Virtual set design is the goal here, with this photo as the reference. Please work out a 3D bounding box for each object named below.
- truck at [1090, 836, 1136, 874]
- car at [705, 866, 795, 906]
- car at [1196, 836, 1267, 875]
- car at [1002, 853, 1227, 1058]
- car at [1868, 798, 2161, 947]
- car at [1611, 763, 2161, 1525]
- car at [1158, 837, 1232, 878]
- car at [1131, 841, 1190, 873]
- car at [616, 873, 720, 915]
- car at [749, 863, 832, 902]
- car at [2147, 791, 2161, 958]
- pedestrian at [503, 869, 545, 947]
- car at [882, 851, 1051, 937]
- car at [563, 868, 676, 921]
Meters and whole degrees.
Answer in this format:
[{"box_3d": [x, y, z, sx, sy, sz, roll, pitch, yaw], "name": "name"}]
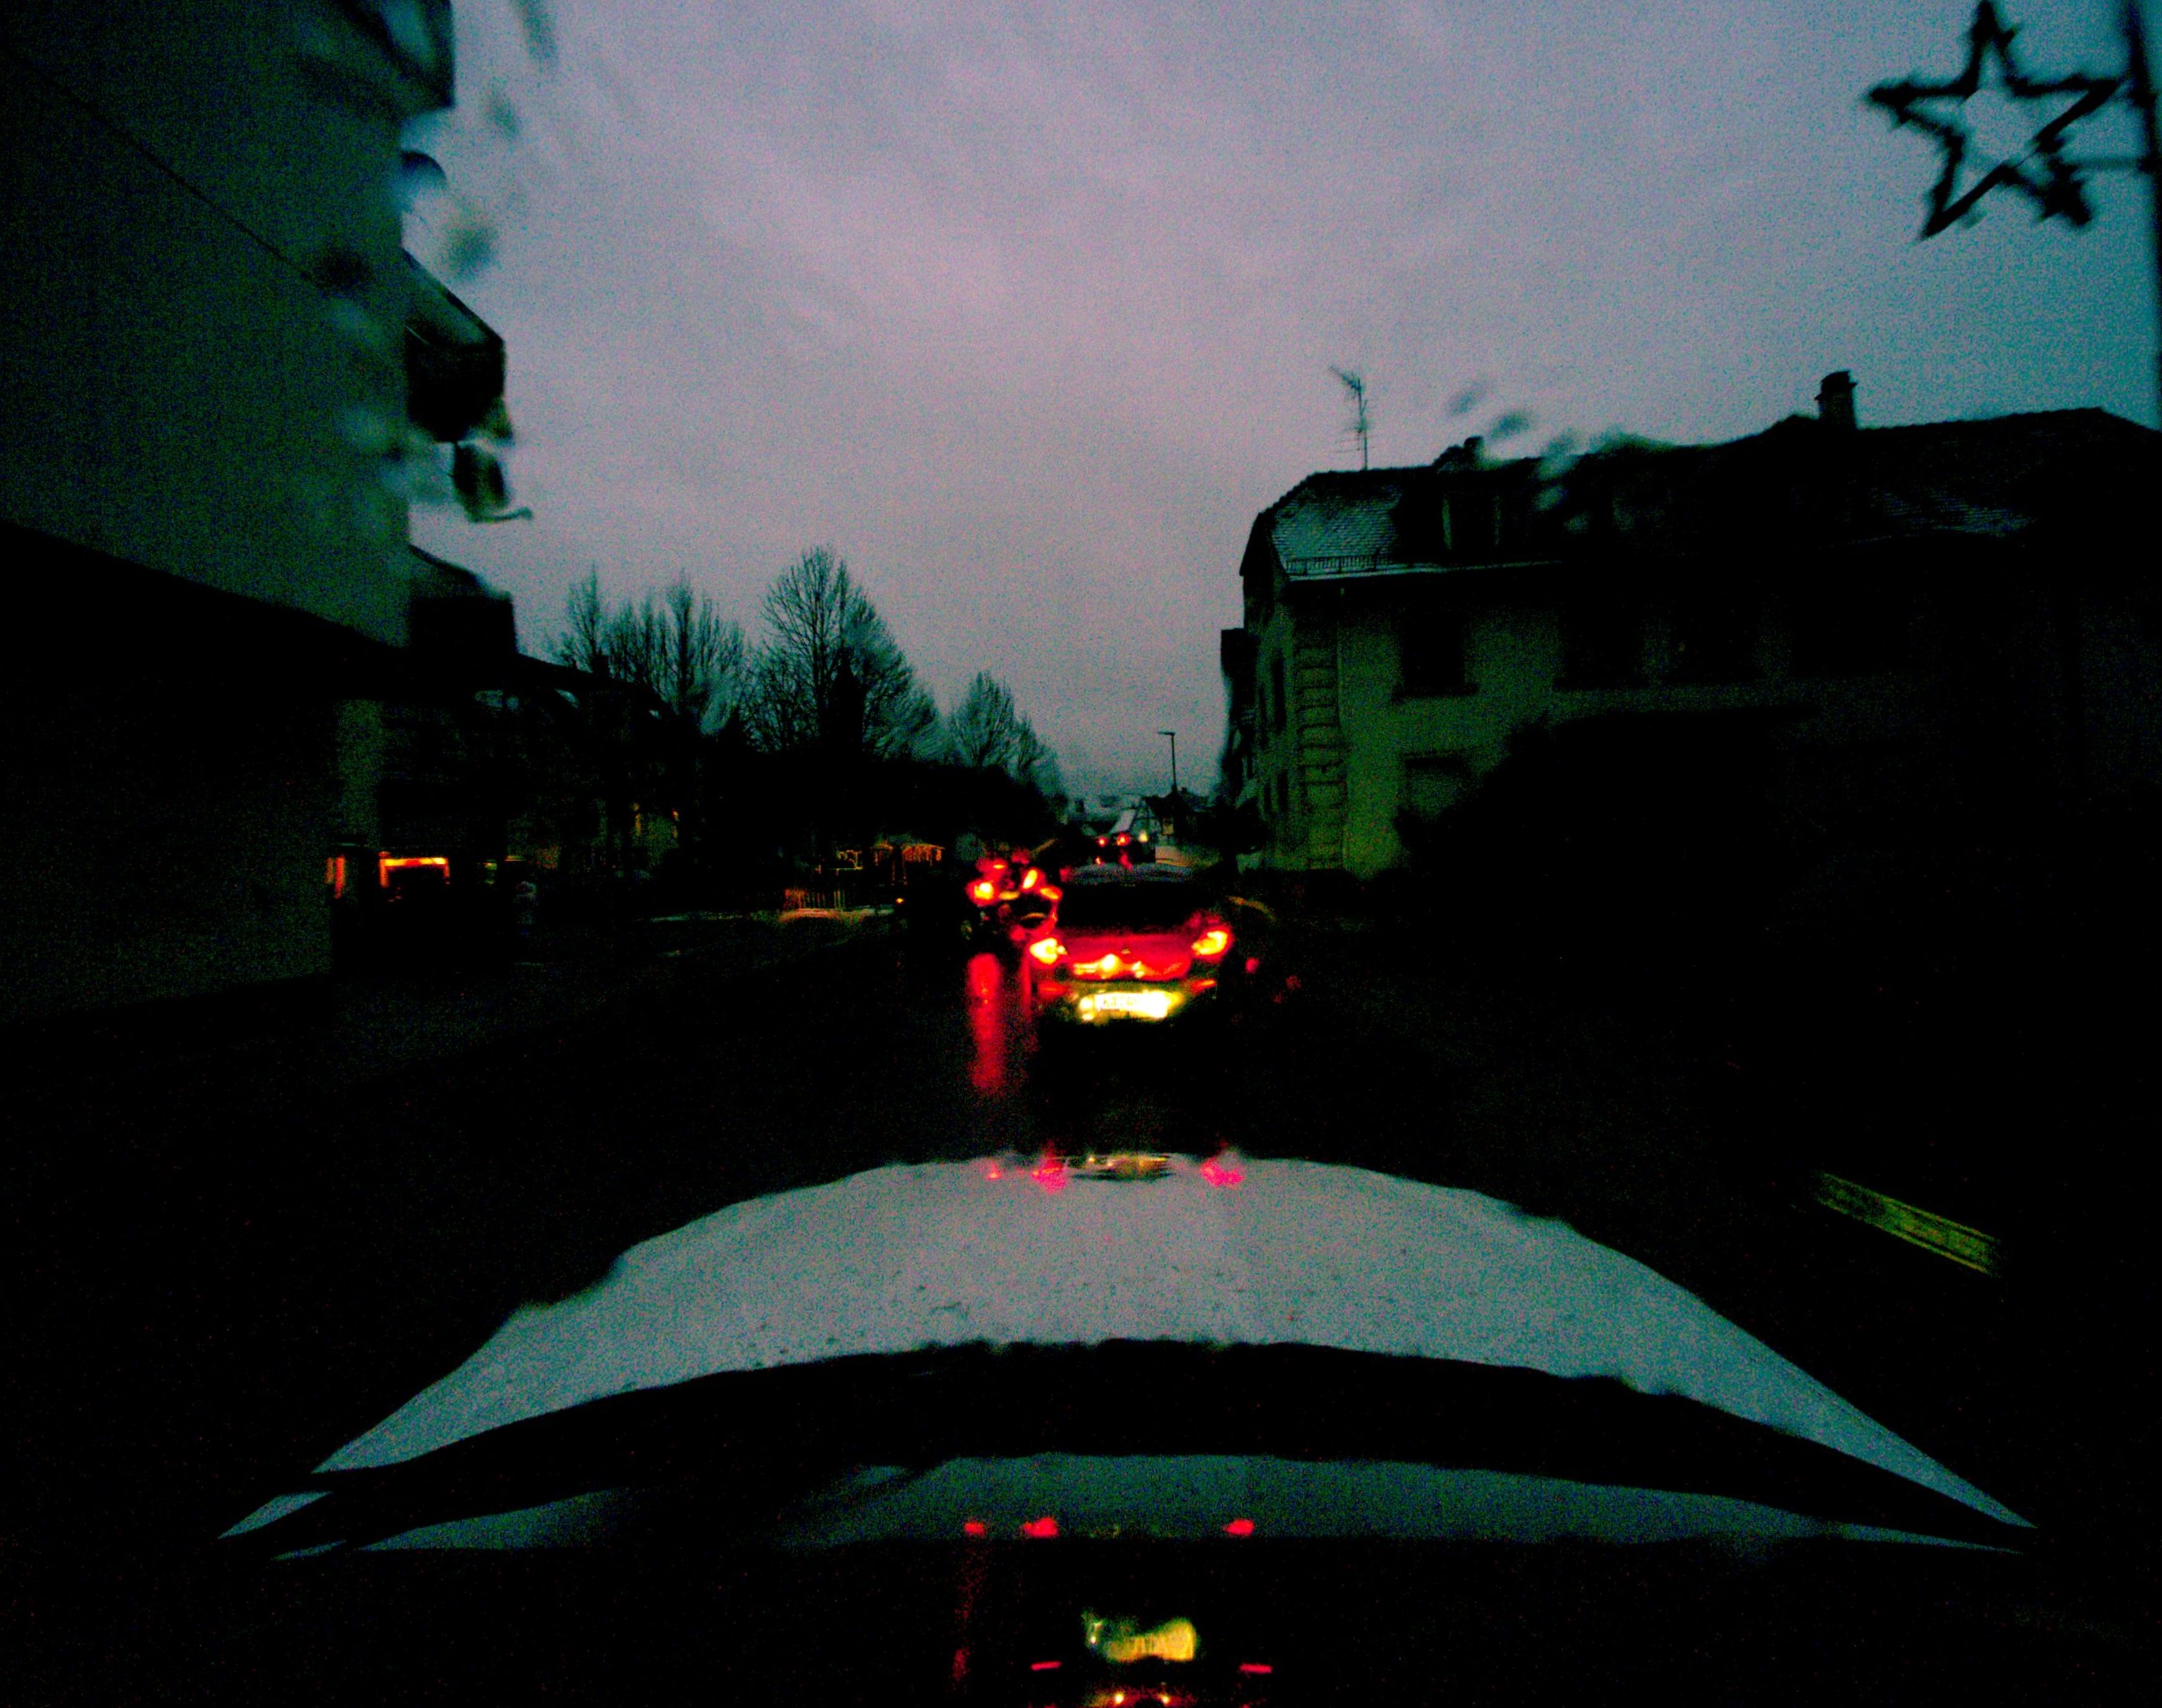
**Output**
[{"box_3d": [2.993, 0.097, 72.830, 2.997, 3.128, 8.022, -1, 0, 10], "name": "truck"}, {"box_3d": [-16.713, 1.610, 41.117, 3.953, 1.910, 1.829, -2, 0, 21], "name": "car"}, {"box_3d": [9.015, 0.091, 49.072, 4.073, 2.151, 1.918, -2, 0, 8], "name": "car"}, {"box_3d": [0.302, 0.757, 7.704, 1.632, 1.481, 3.380, -1, 0, 2], "name": "car"}, {"box_3d": [12.315, 0.144, 9.652, 3.971, 1.524, 1.938, -3, -1, 2], "name": "car"}, {"box_3d": [4.098, 0.521, 2.507, 3.862, 1.579, 1.680, -3, -1, -4], "name": "car"}, {"box_3d": [6.545, 0.188, 46.874, 4.073, 2.163, 1.918, -2, 0, 8], "name": "car"}, {"box_3d": [5.747, 0.191, 58.534, 4.073, 2.151, 1.918, -2, 0, 8], "name": "car"}, {"box_3d": [-18.197, 1.758, 35.886, 3.953, 1.730, 1.829, -2, 0, 21], "name": "car"}, {"box_3d": [-15.681, 1.530, 43.969, 3.953, 1.998, 1.829, -2, 0, 21], "name": "car"}, {"box_3d": [12.101, 0.083, 6.683, 3.972, 1.570, 2.000, -3, -1, 1], "name": "car"}, {"box_3d": [-10.960, 1.046, 16.038, 0.653, 1.458, 0.643, -1, 0, -35], "name": "pedestrian"}, {"box_3d": [-2.297, 0.714, 15.937, 1.653, 1.481, 3.230, -1, 0, -45], "name": "car"}, {"box_3d": [-18.750, 1.654, 33.102, 3.953, 1.988, 1.829, -2, 0, 21], "name": "car"}]
